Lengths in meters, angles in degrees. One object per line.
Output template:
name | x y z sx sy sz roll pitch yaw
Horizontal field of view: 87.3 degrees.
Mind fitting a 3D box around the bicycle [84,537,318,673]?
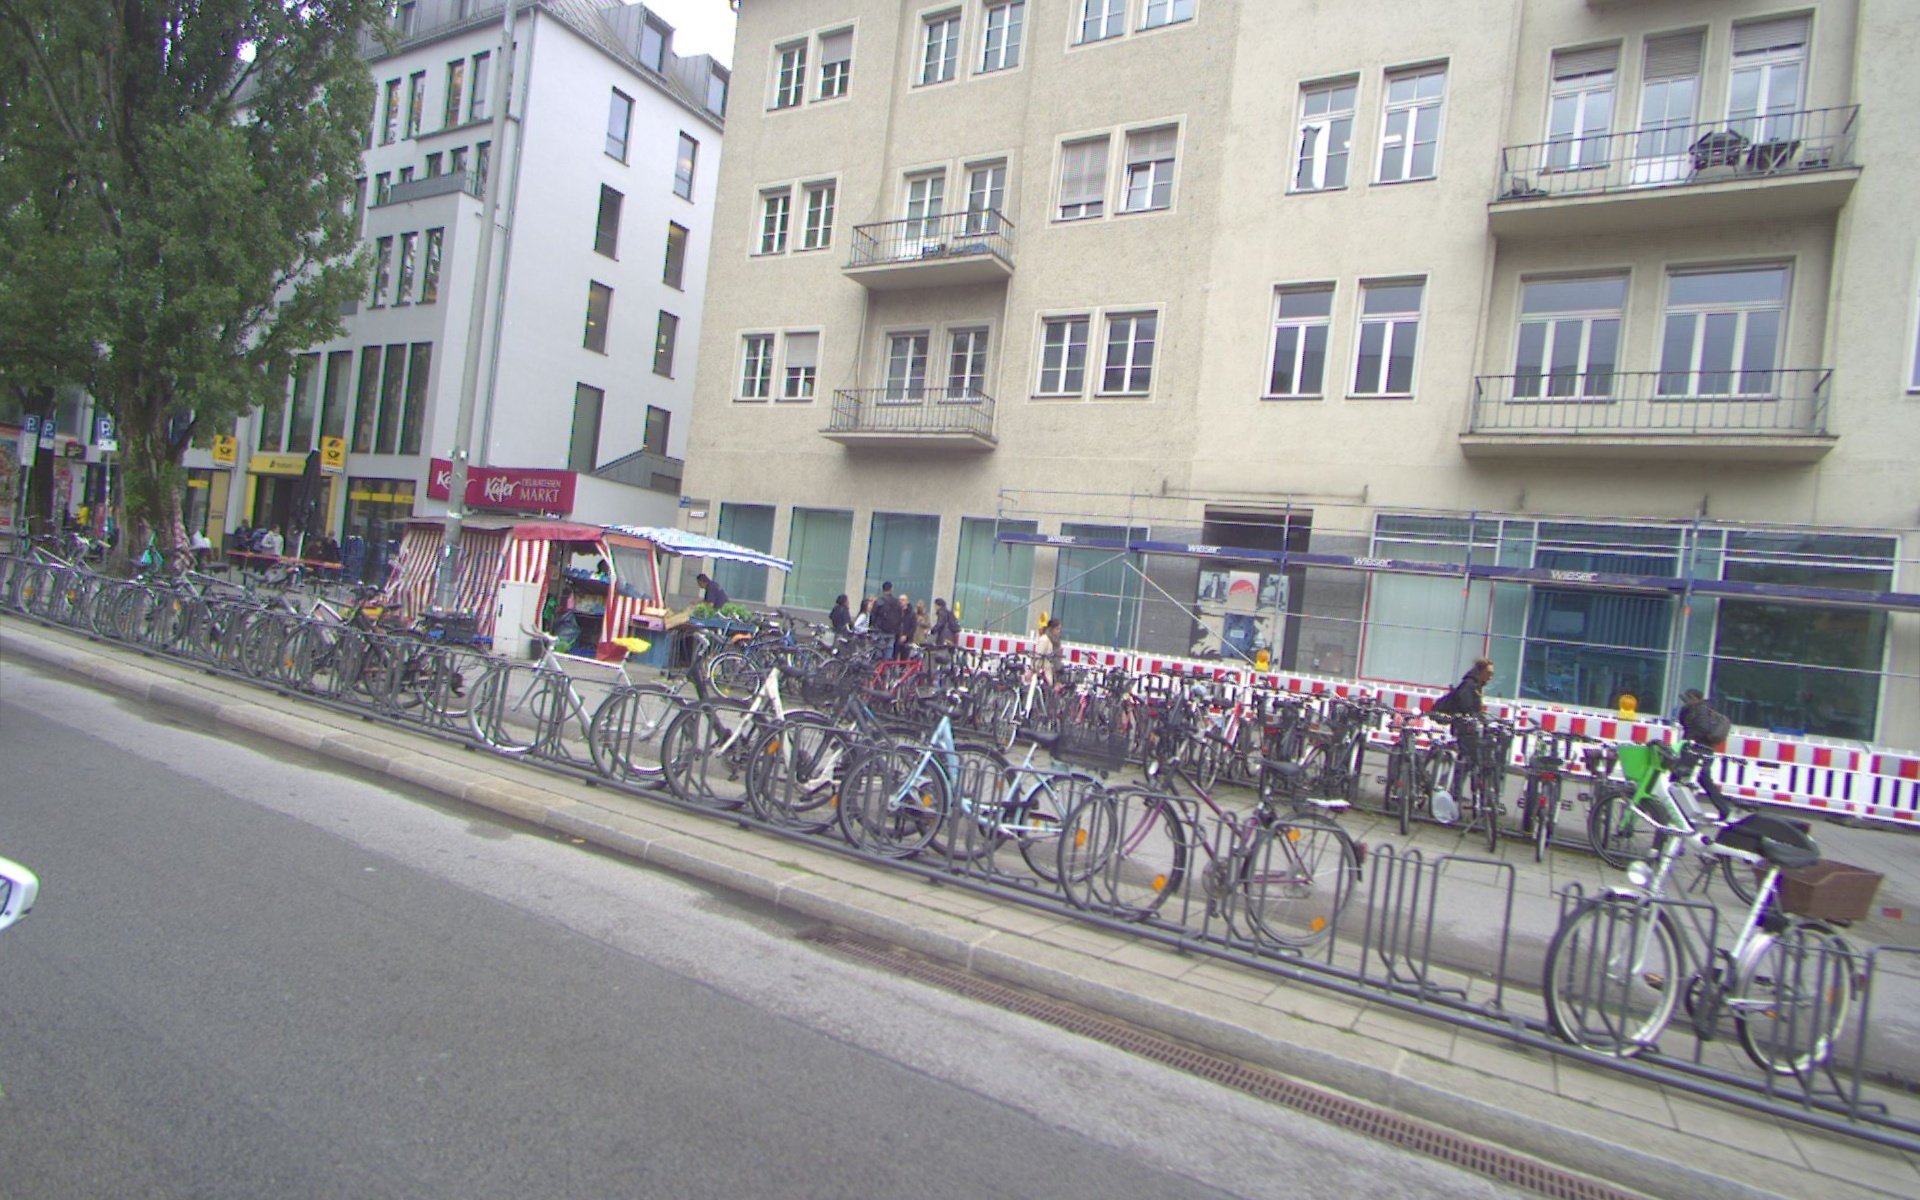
bicycle | -8.107 0.072 10.836 1.779 1.117 0.544 11 -2 -21

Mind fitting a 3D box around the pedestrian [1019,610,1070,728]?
pedestrian | 1.216 0.982 14.453 0.526 1.602 0.662 7 1 7

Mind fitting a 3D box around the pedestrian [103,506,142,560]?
pedestrian | -28.708 -2.286 34.491 0.711 1.746 0.736 6 1 -21

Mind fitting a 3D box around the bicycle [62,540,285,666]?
bicycle | -8.647 0.050 11.134 1.779 1.065 0.365 11 -2 -21

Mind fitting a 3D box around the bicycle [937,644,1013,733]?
bicycle | 0.217 1.149 13.395 0.403 1.091 1.452 6 0 22

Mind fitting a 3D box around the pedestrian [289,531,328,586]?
pedestrian | -19.241 -1.211 29.721 0.640 1.493 0.757 7 -1 -20

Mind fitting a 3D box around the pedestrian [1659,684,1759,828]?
pedestrian | 9.427 1.938 12.693 0.821 1.652 0.563 7 1 35

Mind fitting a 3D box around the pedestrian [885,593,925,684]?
pedestrian | -1.008 0.700 18.422 0.543 1.584 0.653 6 1 -5

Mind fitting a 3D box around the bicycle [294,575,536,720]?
bicycle | -4.951 0.449 9.253 1.779 1.021 0.384 11 -2 -21

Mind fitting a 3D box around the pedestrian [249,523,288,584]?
pedestrian | -19.167 -1.292 27.882 0.625 1.603 0.641 7 1 39

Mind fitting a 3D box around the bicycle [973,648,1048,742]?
bicycle | 0.668 1.187 12.943 0.403 1.091 1.452 6 0 22

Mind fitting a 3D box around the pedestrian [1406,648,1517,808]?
pedestrian | 5.876 1.482 11.828 0.693 1.730 0.738 6 1 -9

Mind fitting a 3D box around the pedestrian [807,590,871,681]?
pedestrian | -2.176 0.641 18.061 0.717 1.547 0.677 7 1 33

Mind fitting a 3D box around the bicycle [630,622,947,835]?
bicycle | -1.085 0.832 6.508 1.825 1.070 0.396 11 -2 -14

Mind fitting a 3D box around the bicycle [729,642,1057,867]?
bicycle | -0.406 0.948 6.171 1.825 1.070 0.396 11 -2 -14

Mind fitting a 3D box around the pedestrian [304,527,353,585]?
pedestrian | -19.648 -1.370 31.288 1.006 1.657 0.800 7 1 31

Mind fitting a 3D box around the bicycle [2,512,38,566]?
bicycle | -22.516 -1.481 24.107 0.476 1.174 1.803 7 0 -42

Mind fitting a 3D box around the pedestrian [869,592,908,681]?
pedestrian | -1.427 0.736 20.093 0.463 1.692 0.527 7 -1 13

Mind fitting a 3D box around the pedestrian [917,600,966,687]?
pedestrian | -0.376 0.874 20.525 0.752 1.671 0.602 6 1 -9

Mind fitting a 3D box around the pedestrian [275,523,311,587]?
pedestrian | -18.873 -1.276 28.475 0.588 1.723 0.579 7 1 39

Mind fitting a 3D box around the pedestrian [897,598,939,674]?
pedestrian | -0.924 0.799 22.287 0.598 1.623 0.465 7 1 28

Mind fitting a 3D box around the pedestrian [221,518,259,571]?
pedestrian | -24.130 -1.861 33.726 0.785 1.669 0.691 7 1 34

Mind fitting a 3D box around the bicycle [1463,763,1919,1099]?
bicycle | 3.058 1.367 4.162 1.768 1.150 0.488 8 -1 -15

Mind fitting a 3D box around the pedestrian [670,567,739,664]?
pedestrian | -4.720 0.294 18.617 0.717 1.694 0.794 7 1 31

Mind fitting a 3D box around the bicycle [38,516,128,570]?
bicycle | -22.844 -1.477 26.219 0.696 1.174 1.624 7 -1 44

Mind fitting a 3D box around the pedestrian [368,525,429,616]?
pedestrian | -11.967 -0.627 21.445 0.563 1.816 0.793 6 -1 37

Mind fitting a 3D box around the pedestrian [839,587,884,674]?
pedestrian | -2.012 0.627 20.656 0.498 1.693 0.539 6 -1 39

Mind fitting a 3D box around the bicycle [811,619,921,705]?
bicycle | -1.291 0.884 14.089 0.404 1.117 1.626 7 1 40

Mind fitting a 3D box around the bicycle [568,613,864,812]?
bicycle | -1.645 0.783 6.892 1.779 1.070 0.396 11 -2 -21

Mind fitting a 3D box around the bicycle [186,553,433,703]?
bicycle | -6.229 0.280 9.742 1.779 1.117 0.544 11 -2 -21

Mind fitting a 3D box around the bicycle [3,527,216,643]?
bicycle | -10.377 -0.167 12.350 1.779 1.065 0.544 11 -2 -21

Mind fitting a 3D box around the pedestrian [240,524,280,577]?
pedestrian | -22.872 -1.621 32.862 0.760 1.605 0.691 7 1 31

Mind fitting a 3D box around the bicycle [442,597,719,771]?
bicycle | -2.825 0.649 7.612 1.779 1.021 0.384 11 -2 -21

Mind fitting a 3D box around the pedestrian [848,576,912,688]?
pedestrian | -1.390 0.558 17.633 0.716 1.851 0.718 7 1 17

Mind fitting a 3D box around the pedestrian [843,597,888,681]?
pedestrian | -1.829 0.767 19.540 0.458 1.558 0.560 6 -1 32
